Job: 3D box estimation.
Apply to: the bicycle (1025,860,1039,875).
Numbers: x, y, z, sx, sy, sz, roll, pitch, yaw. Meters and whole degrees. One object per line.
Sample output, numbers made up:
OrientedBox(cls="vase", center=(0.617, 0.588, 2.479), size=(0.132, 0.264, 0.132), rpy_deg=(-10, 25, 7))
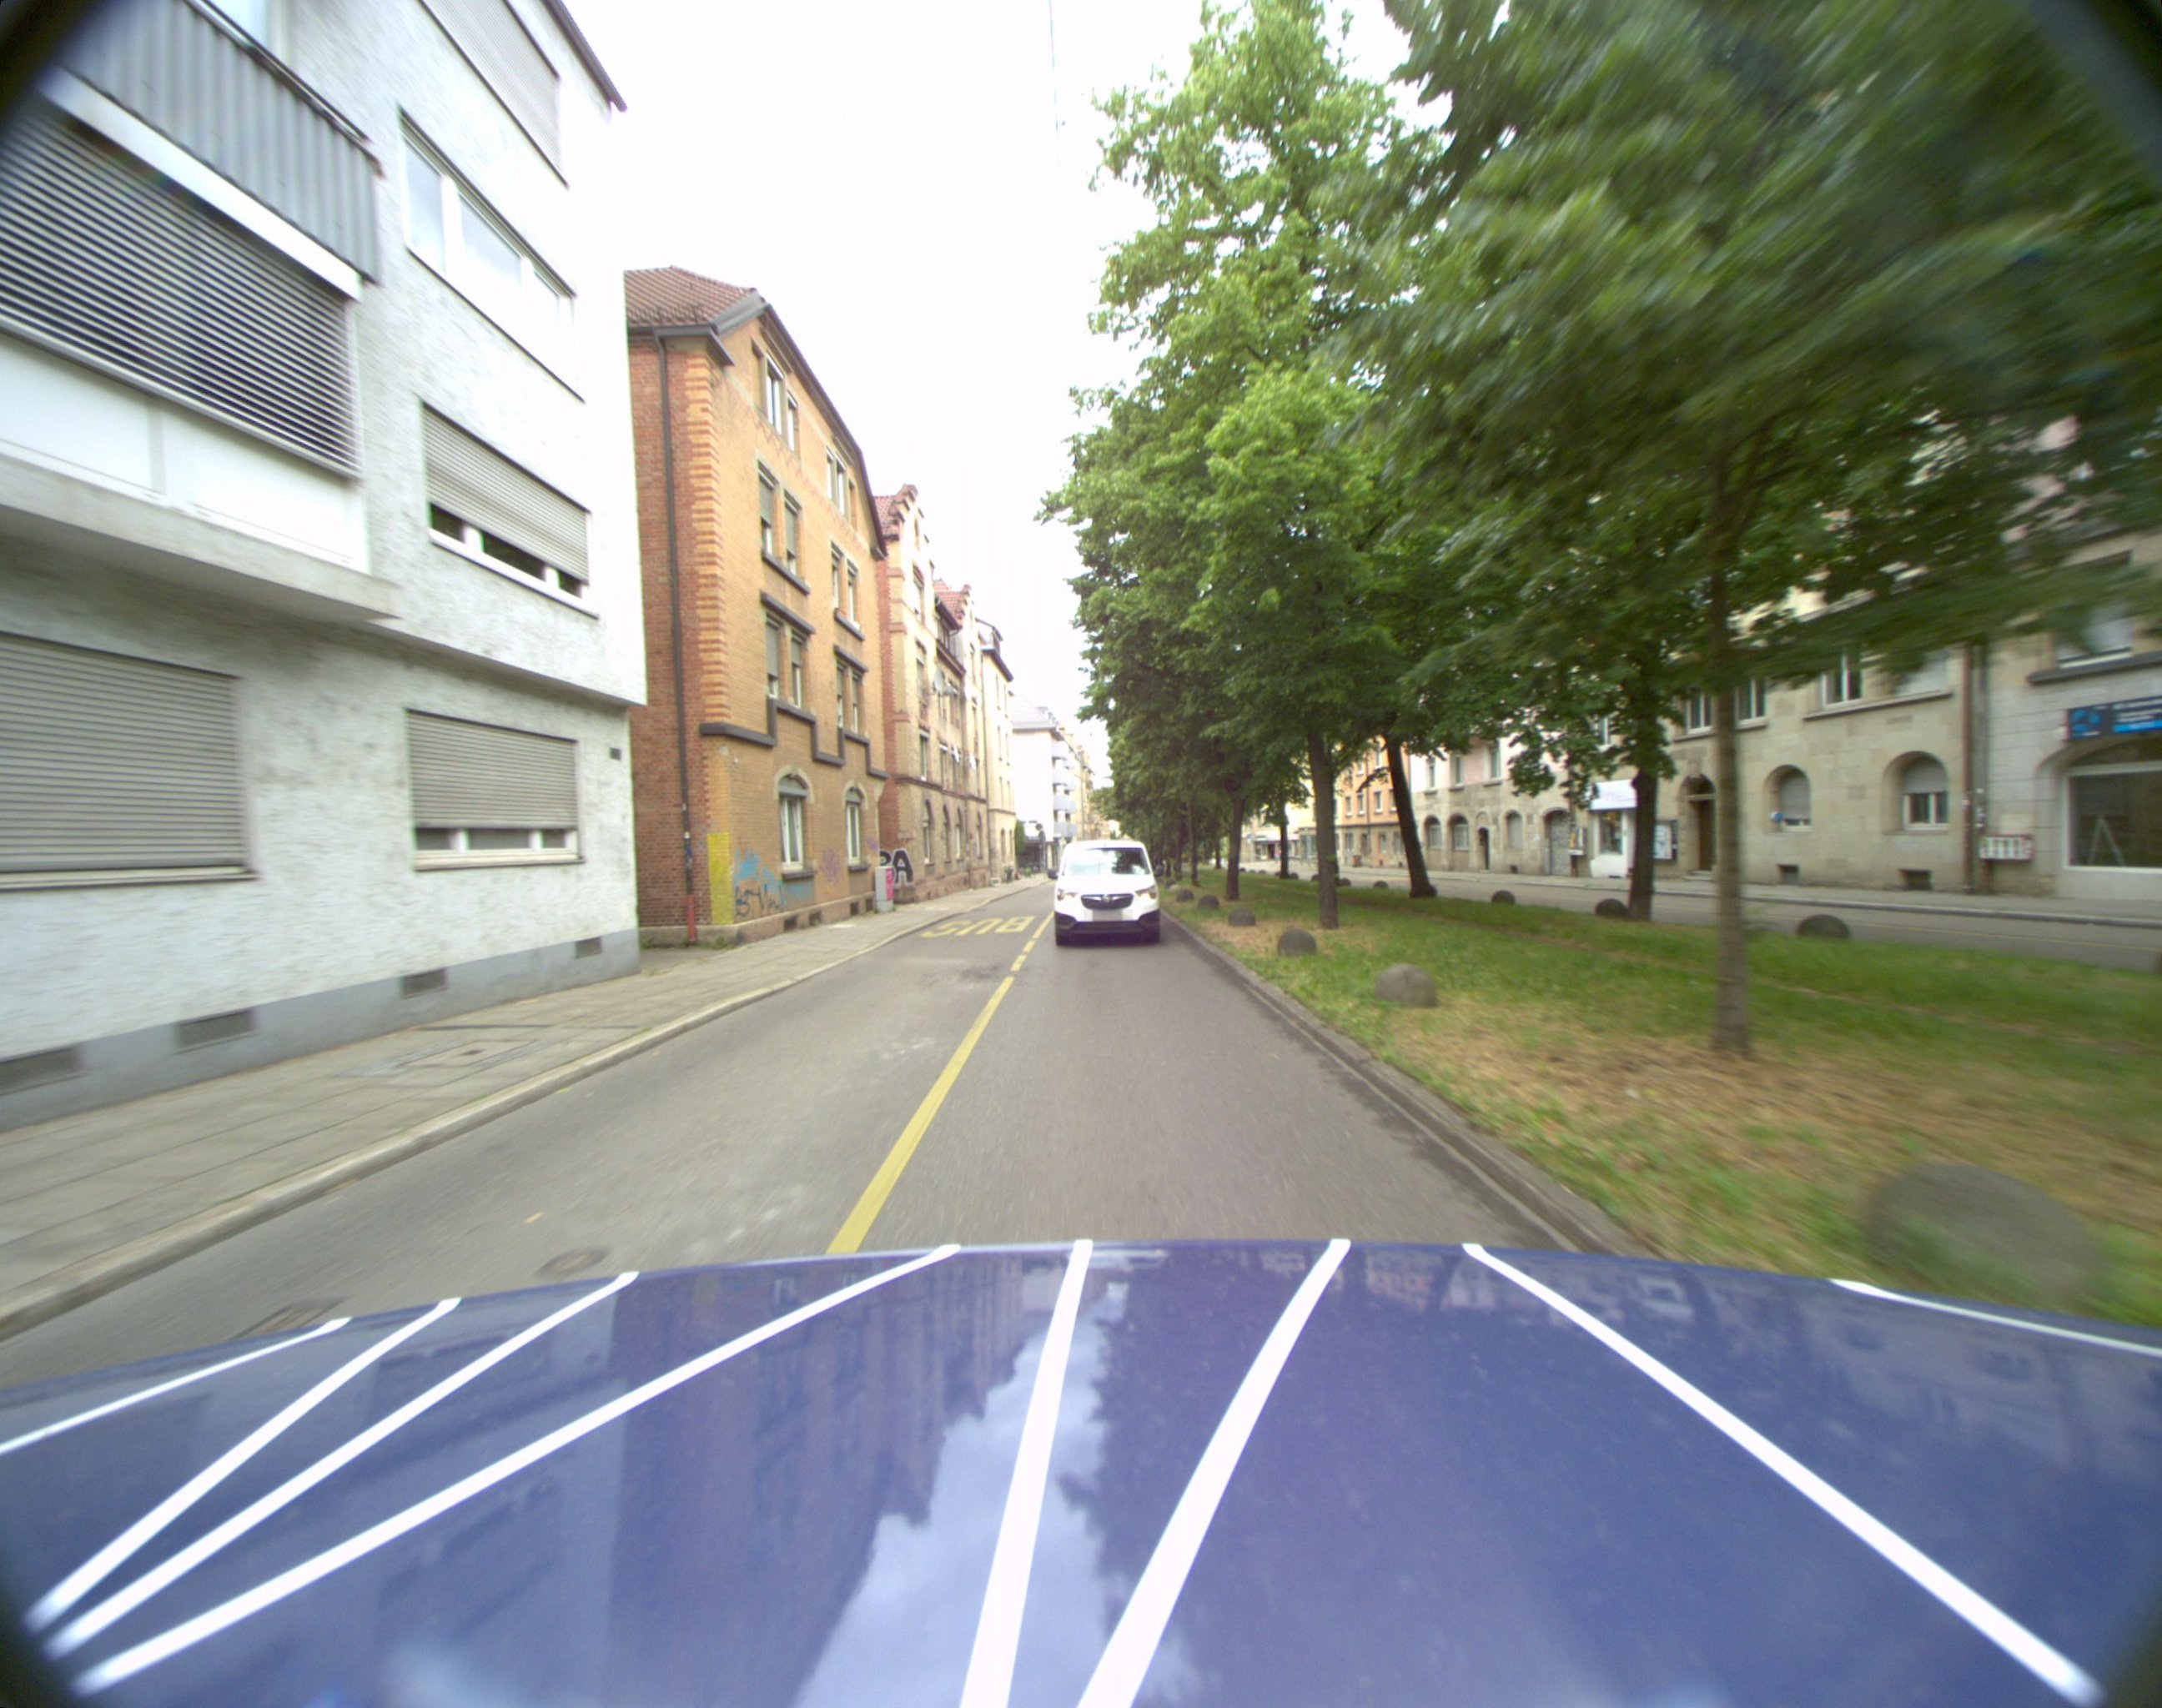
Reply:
OrientedBox(cls="bicycle", center=(-3.891, 1.074, 60.198), size=(0.683, 1.142, 2.942), rpy_deg=(-2, -1, 4))

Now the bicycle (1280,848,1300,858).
OrientedBox(cls="bicycle", center=(26.314, -0.100, 95.725), size=(2.345, 1.094, 0.775), rpy_deg=(-3, 0, 23))

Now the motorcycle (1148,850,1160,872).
OrientedBox(cls="motorcycle", center=(5.525, 0.576, 57.697), size=(0.825, 1.520, 2.626), rpy_deg=(0, -3, 5))

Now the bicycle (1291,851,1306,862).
OrientedBox(cls="bicycle", center=(24.026, 0.256, 83.882), size=(0.684, 1.142, 2.057), rpy_deg=(-4, -2, -8))

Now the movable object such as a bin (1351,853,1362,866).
OrientedBox(cls="movable object such as a bin", center=(20.175, 0.368, 55.730), size=(0.513, 0.921, 0.779), rpy_deg=(-3, 0, 4))

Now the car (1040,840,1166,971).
OrientedBox(cls="car", center=(0.489, 0.730, 13.097), size=(1.745, 1.830, 4.344), rpy_deg=(-2, 1, 5))

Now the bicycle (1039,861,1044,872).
OrientedBox(cls="bicycle", center=(-4.196, 1.312, 80.385), size=(0.400, 1.197, 1.285), rpy_deg=(-4, 0, -3))

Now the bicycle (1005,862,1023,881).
OrientedBox(cls="bicycle", center=(-4.322, 1.136, 49.251), size=(0.683, 1.143, 2.484), rpy_deg=(-2, 1, 4))
